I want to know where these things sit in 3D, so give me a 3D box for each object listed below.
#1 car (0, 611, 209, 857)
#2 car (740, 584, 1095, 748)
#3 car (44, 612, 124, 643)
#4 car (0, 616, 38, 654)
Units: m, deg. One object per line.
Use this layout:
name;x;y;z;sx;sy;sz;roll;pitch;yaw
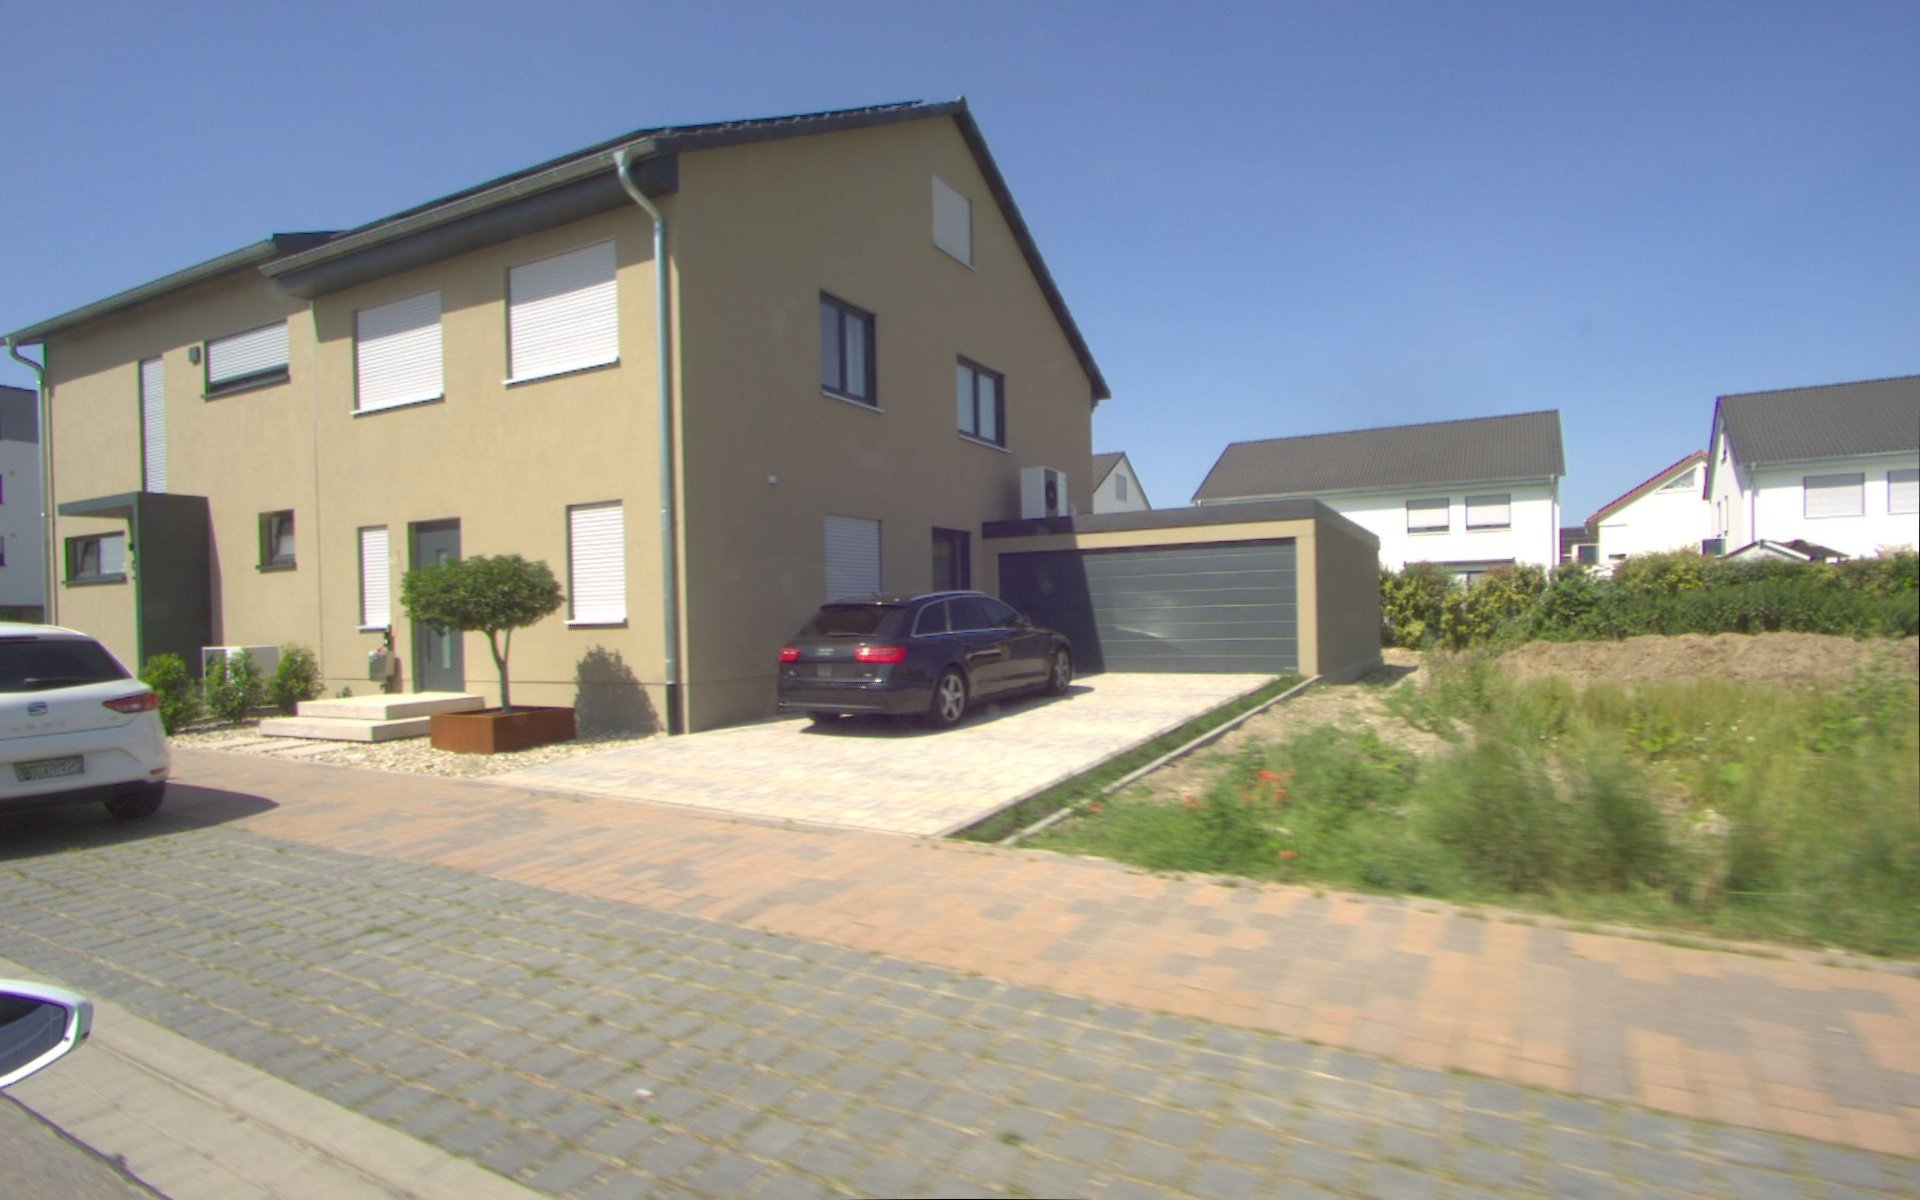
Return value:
car;-7.774;0.872;7.436;4.495;1.475;1.812;-1;1;29
car;-0.227;0.604;12.137;1.970;1.445;4.877;-1;2;30
car;-47.115;1.481;53.851;3.618;1.522;1.877;-2;0;24
car;-38.413;1.387;38.364;1.851;1.454;4.160;-2;-1;22
